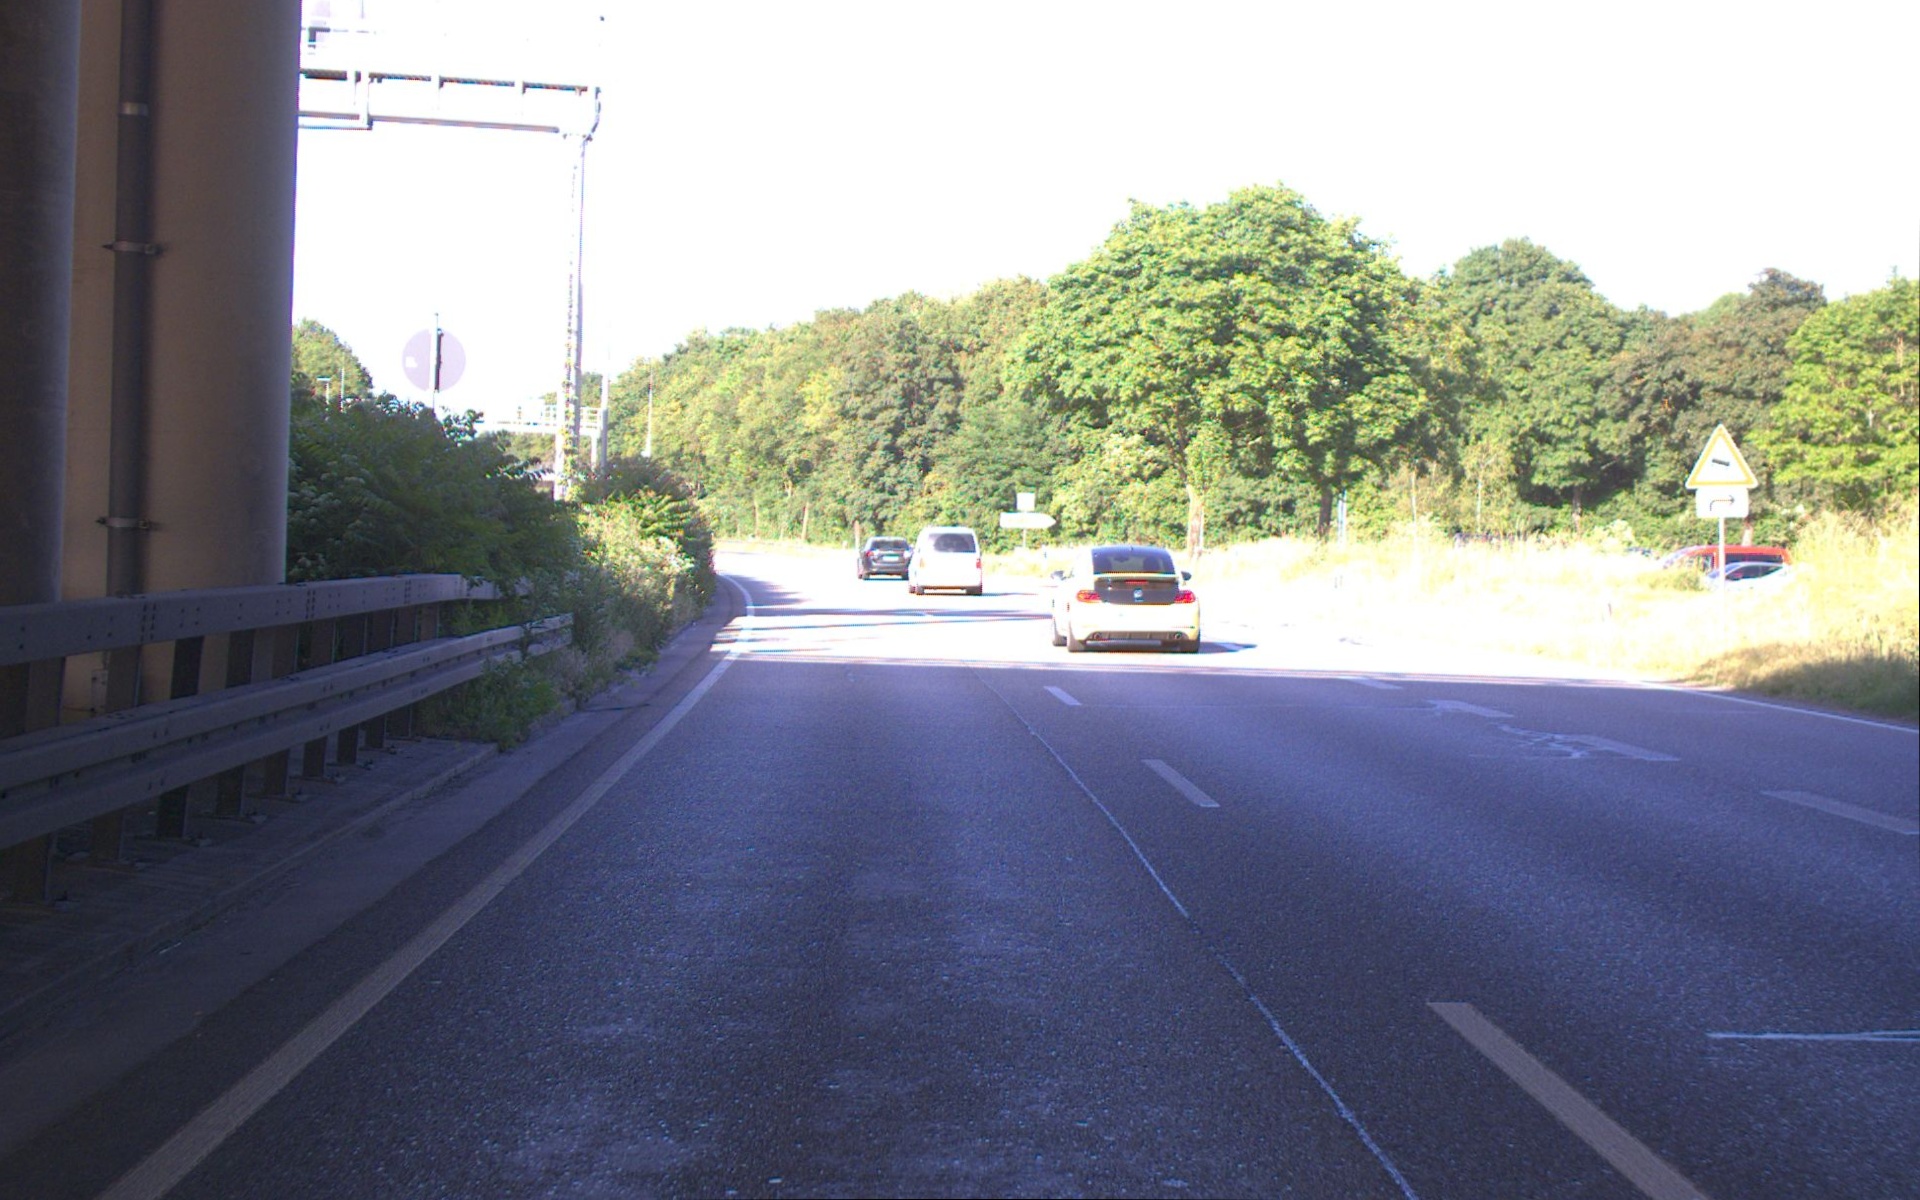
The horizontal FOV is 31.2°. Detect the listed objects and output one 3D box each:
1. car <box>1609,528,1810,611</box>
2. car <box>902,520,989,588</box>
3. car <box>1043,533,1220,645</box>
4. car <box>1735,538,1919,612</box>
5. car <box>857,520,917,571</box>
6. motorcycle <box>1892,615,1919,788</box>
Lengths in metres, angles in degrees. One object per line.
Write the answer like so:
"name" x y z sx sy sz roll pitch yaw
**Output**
"car" 19.802 -0.785 90.915 4.788 2.016 2.027 1 -2 -7
"car" -0.419 -1.209 91.043 1.897 1.761 4.001 -1 1 -6
"car" 2.342 -0.185 47.870 1.897 1.466 4.001 0 2 -5
"car" 20.322 -0.560 79.836 4.109 1.554 1.924 1 -2 -7
"car" -2.531 -1.889 118.573 1.897 1.761 4.001 0 1 -3
"motorcycle" 6.452 0.659 20.649 0.816 1.066 2.836 1 1 -2
